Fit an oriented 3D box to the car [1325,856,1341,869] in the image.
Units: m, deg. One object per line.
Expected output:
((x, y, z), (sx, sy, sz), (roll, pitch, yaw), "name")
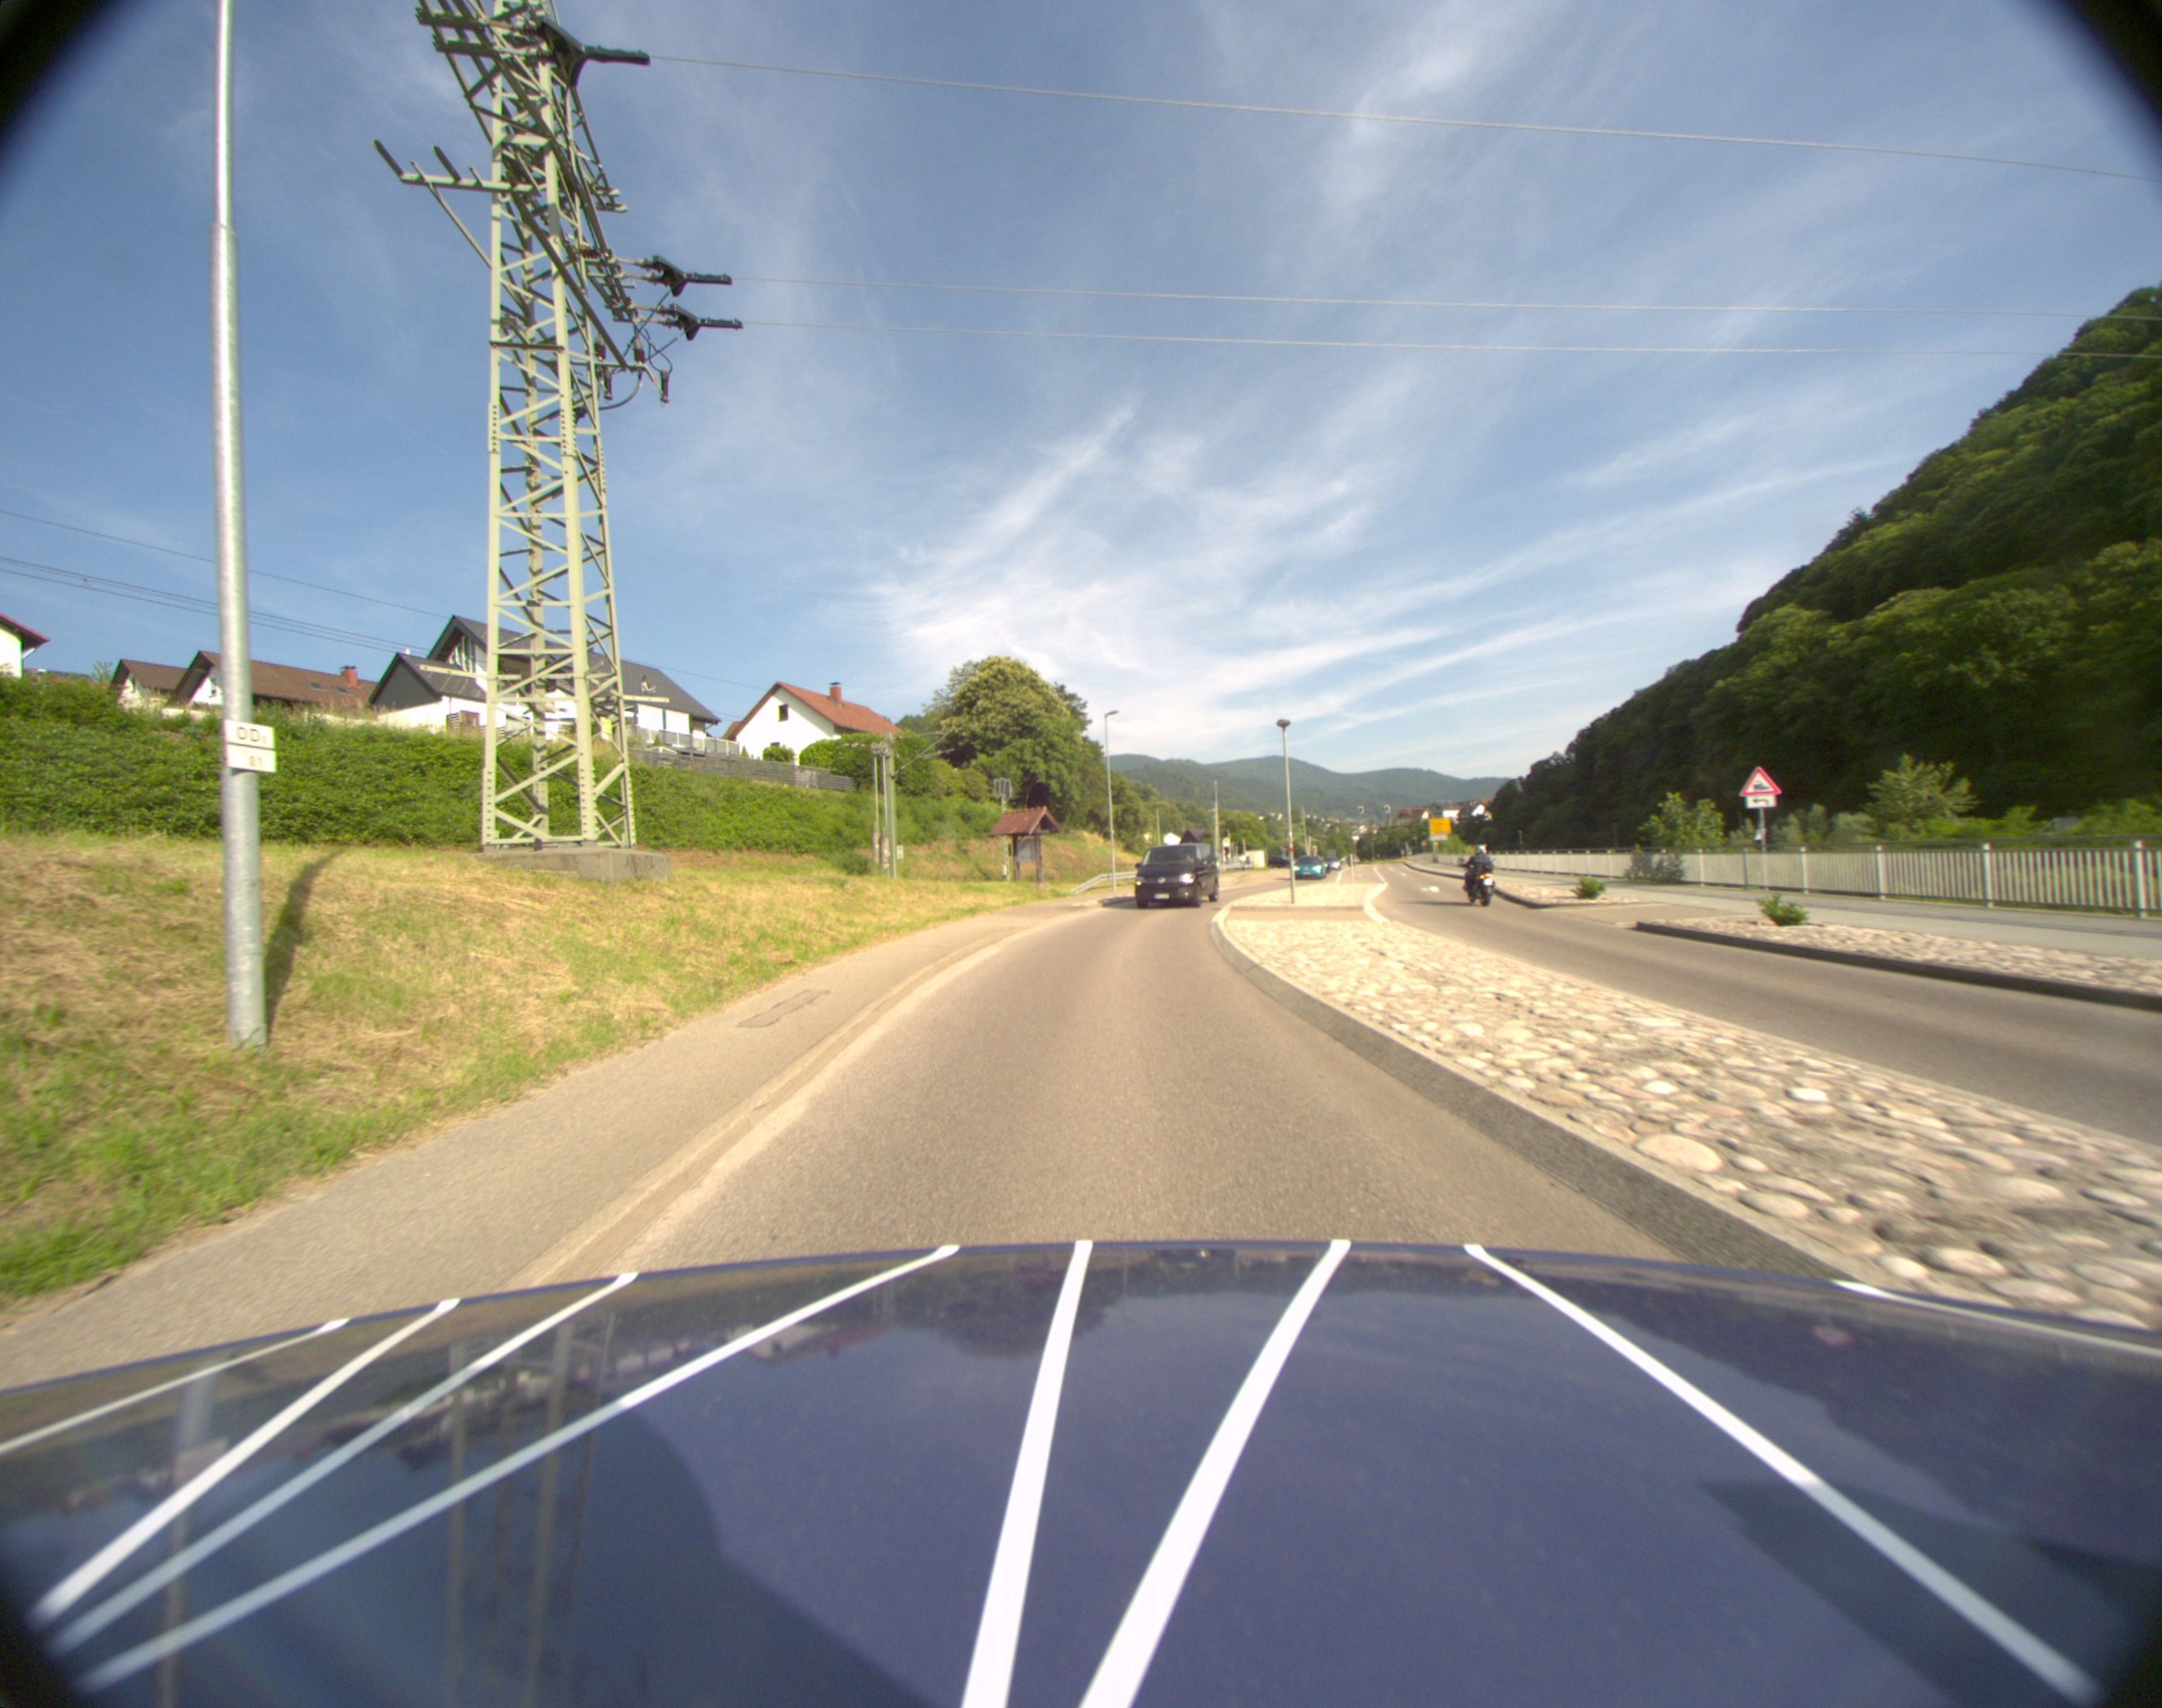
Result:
((26.287, 0.880, 79.267), (1.303, 1.216, 2.932), (-4, -2, 21), "car")

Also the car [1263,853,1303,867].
((26.012, 0.822, 97.857), (1.935, 1.649, 4.730), (4, -4, -37), "car")

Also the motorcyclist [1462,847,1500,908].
((11.291, 0.656, 21.482), (0.764, 1.668, 0.727), (-2, 1, 15), "motorcyclist")

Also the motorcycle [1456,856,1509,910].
((11.258, 0.788, 21.380), (0.774, 1.414, 2.321), (-2, 0, 14), "motorcycle")

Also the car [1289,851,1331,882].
((14.834, 0.748, 49.113), (1.880, 1.728, 4.522), (-3, 1, 25), "car")

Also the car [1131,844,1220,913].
((3.090, 0.664, 23.987), (1.862, 1.936, 4.644), (0, 1, 19), "car")

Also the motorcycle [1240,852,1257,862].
((22.465, 0.447, 102.024), (2.094, 1.246, 0.801), (-4, -2, 40), "motorcycle")

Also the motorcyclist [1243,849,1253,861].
((22.420, 0.150, 102.074), (0.907, 1.587, 0.767), (-4, -1, 39), "motorcyclist")
